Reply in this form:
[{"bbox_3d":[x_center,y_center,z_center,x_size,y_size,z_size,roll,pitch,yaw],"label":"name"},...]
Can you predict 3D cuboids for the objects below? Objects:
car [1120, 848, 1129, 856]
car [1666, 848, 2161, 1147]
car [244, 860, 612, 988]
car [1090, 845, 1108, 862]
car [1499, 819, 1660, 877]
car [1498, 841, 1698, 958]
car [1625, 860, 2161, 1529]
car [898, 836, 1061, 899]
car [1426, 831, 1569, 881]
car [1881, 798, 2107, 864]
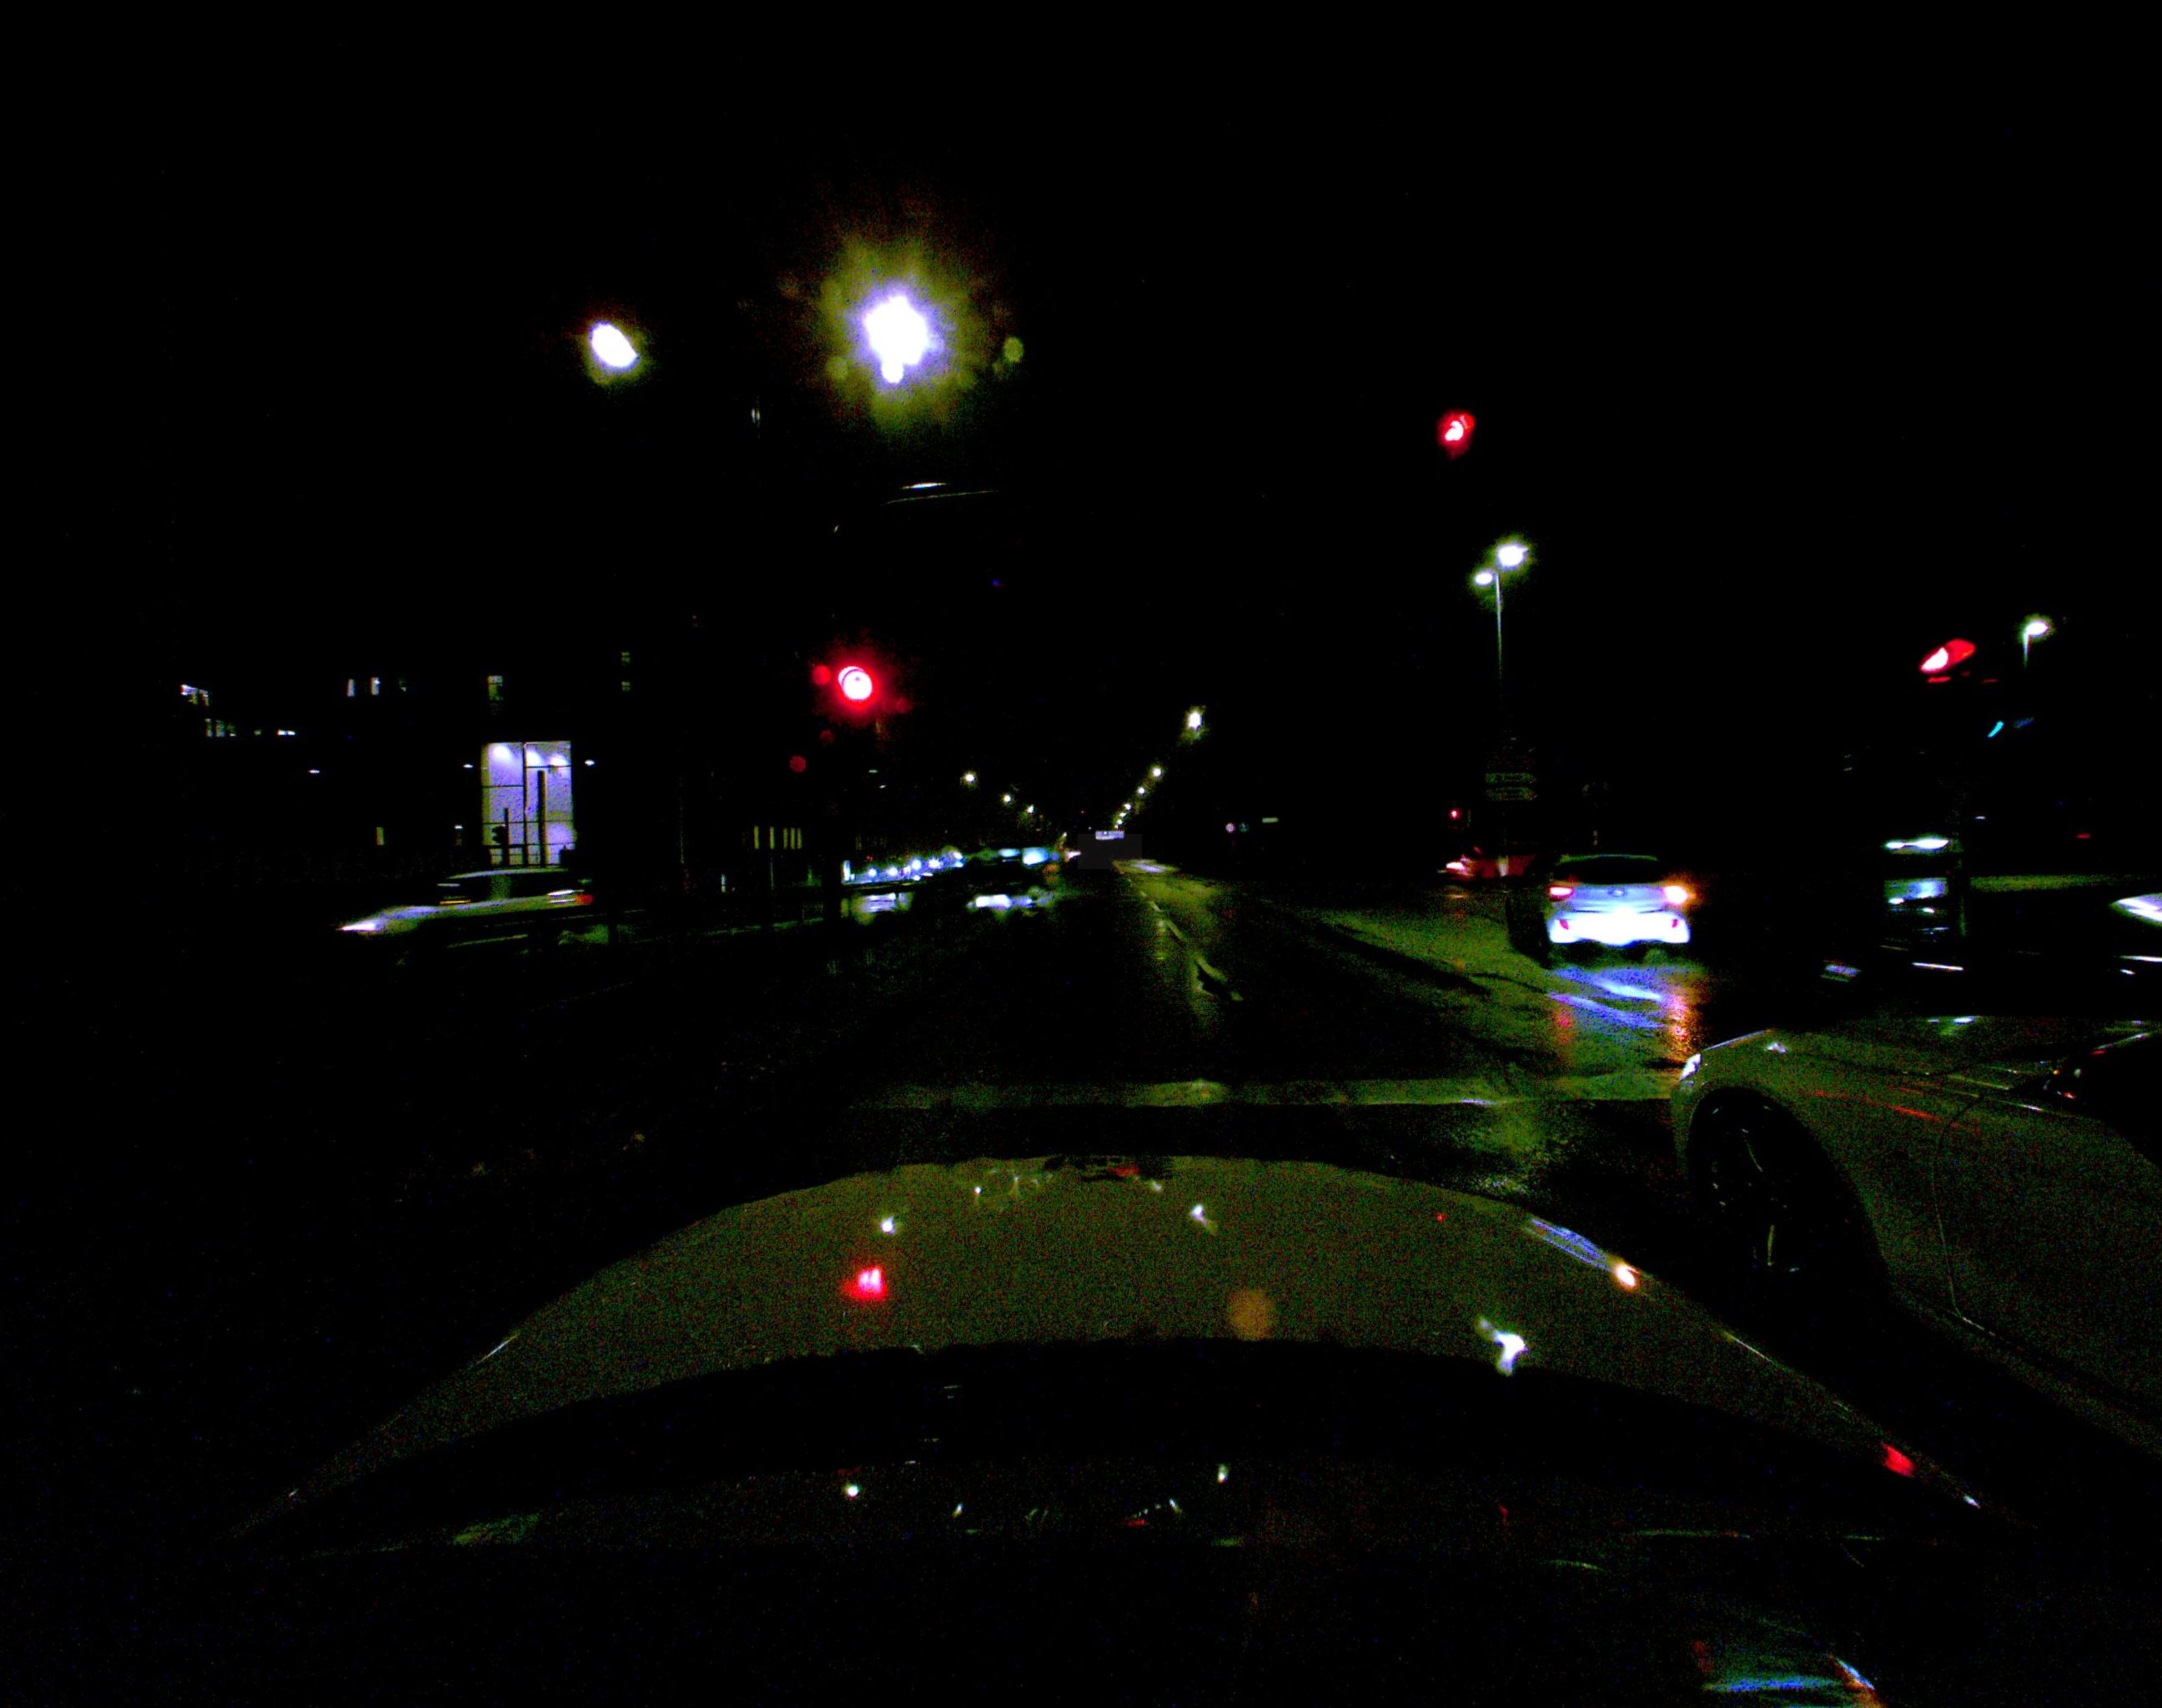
[{"bbox_3d":[10.028,-0.510,188.877,1.986,1.759,4.001,0,-1,2],"label":"car"},{"bbox_3d":[5.916,0.674,4.576,1.749,1.390,4.559,-1,0,-5],"label":"car"},{"bbox_3d":[-10.400,0.979,13.484,1.888,1.741,4.418,-1,-1,18],"label":"car"},{"bbox_3d":[2.246,-0.063,101.337,1.988,2.014,4.629,0,-1,-1],"label":"car"},{"bbox_3d":[19.229,-0.208,31.637,4.885,2.145,2.146,0,-1,8],"label":"car"},{"bbox_3d":[7.434,0.581,12.094,1.620,1.459,3.610,-1,-1,17],"label":"car"},{"bbox_3d":[3.120,0.715,1.294,1.710,1.404,4.351,0,0,2],"label":"car"},{"bbox_3d":[-3.020,0.386,24.447,4.520,1.749,1.841,0,-1,-31],"label":"car"},{"bbox_3d":[14.516,0.092,28.546,4.049,1.588,1.914,2,-1,5],"label":"car"},{"bbox_3d":[30.452,-0.744,27.314,5.070,1.984,2.002,-2,0,4],"label":"car"}]
